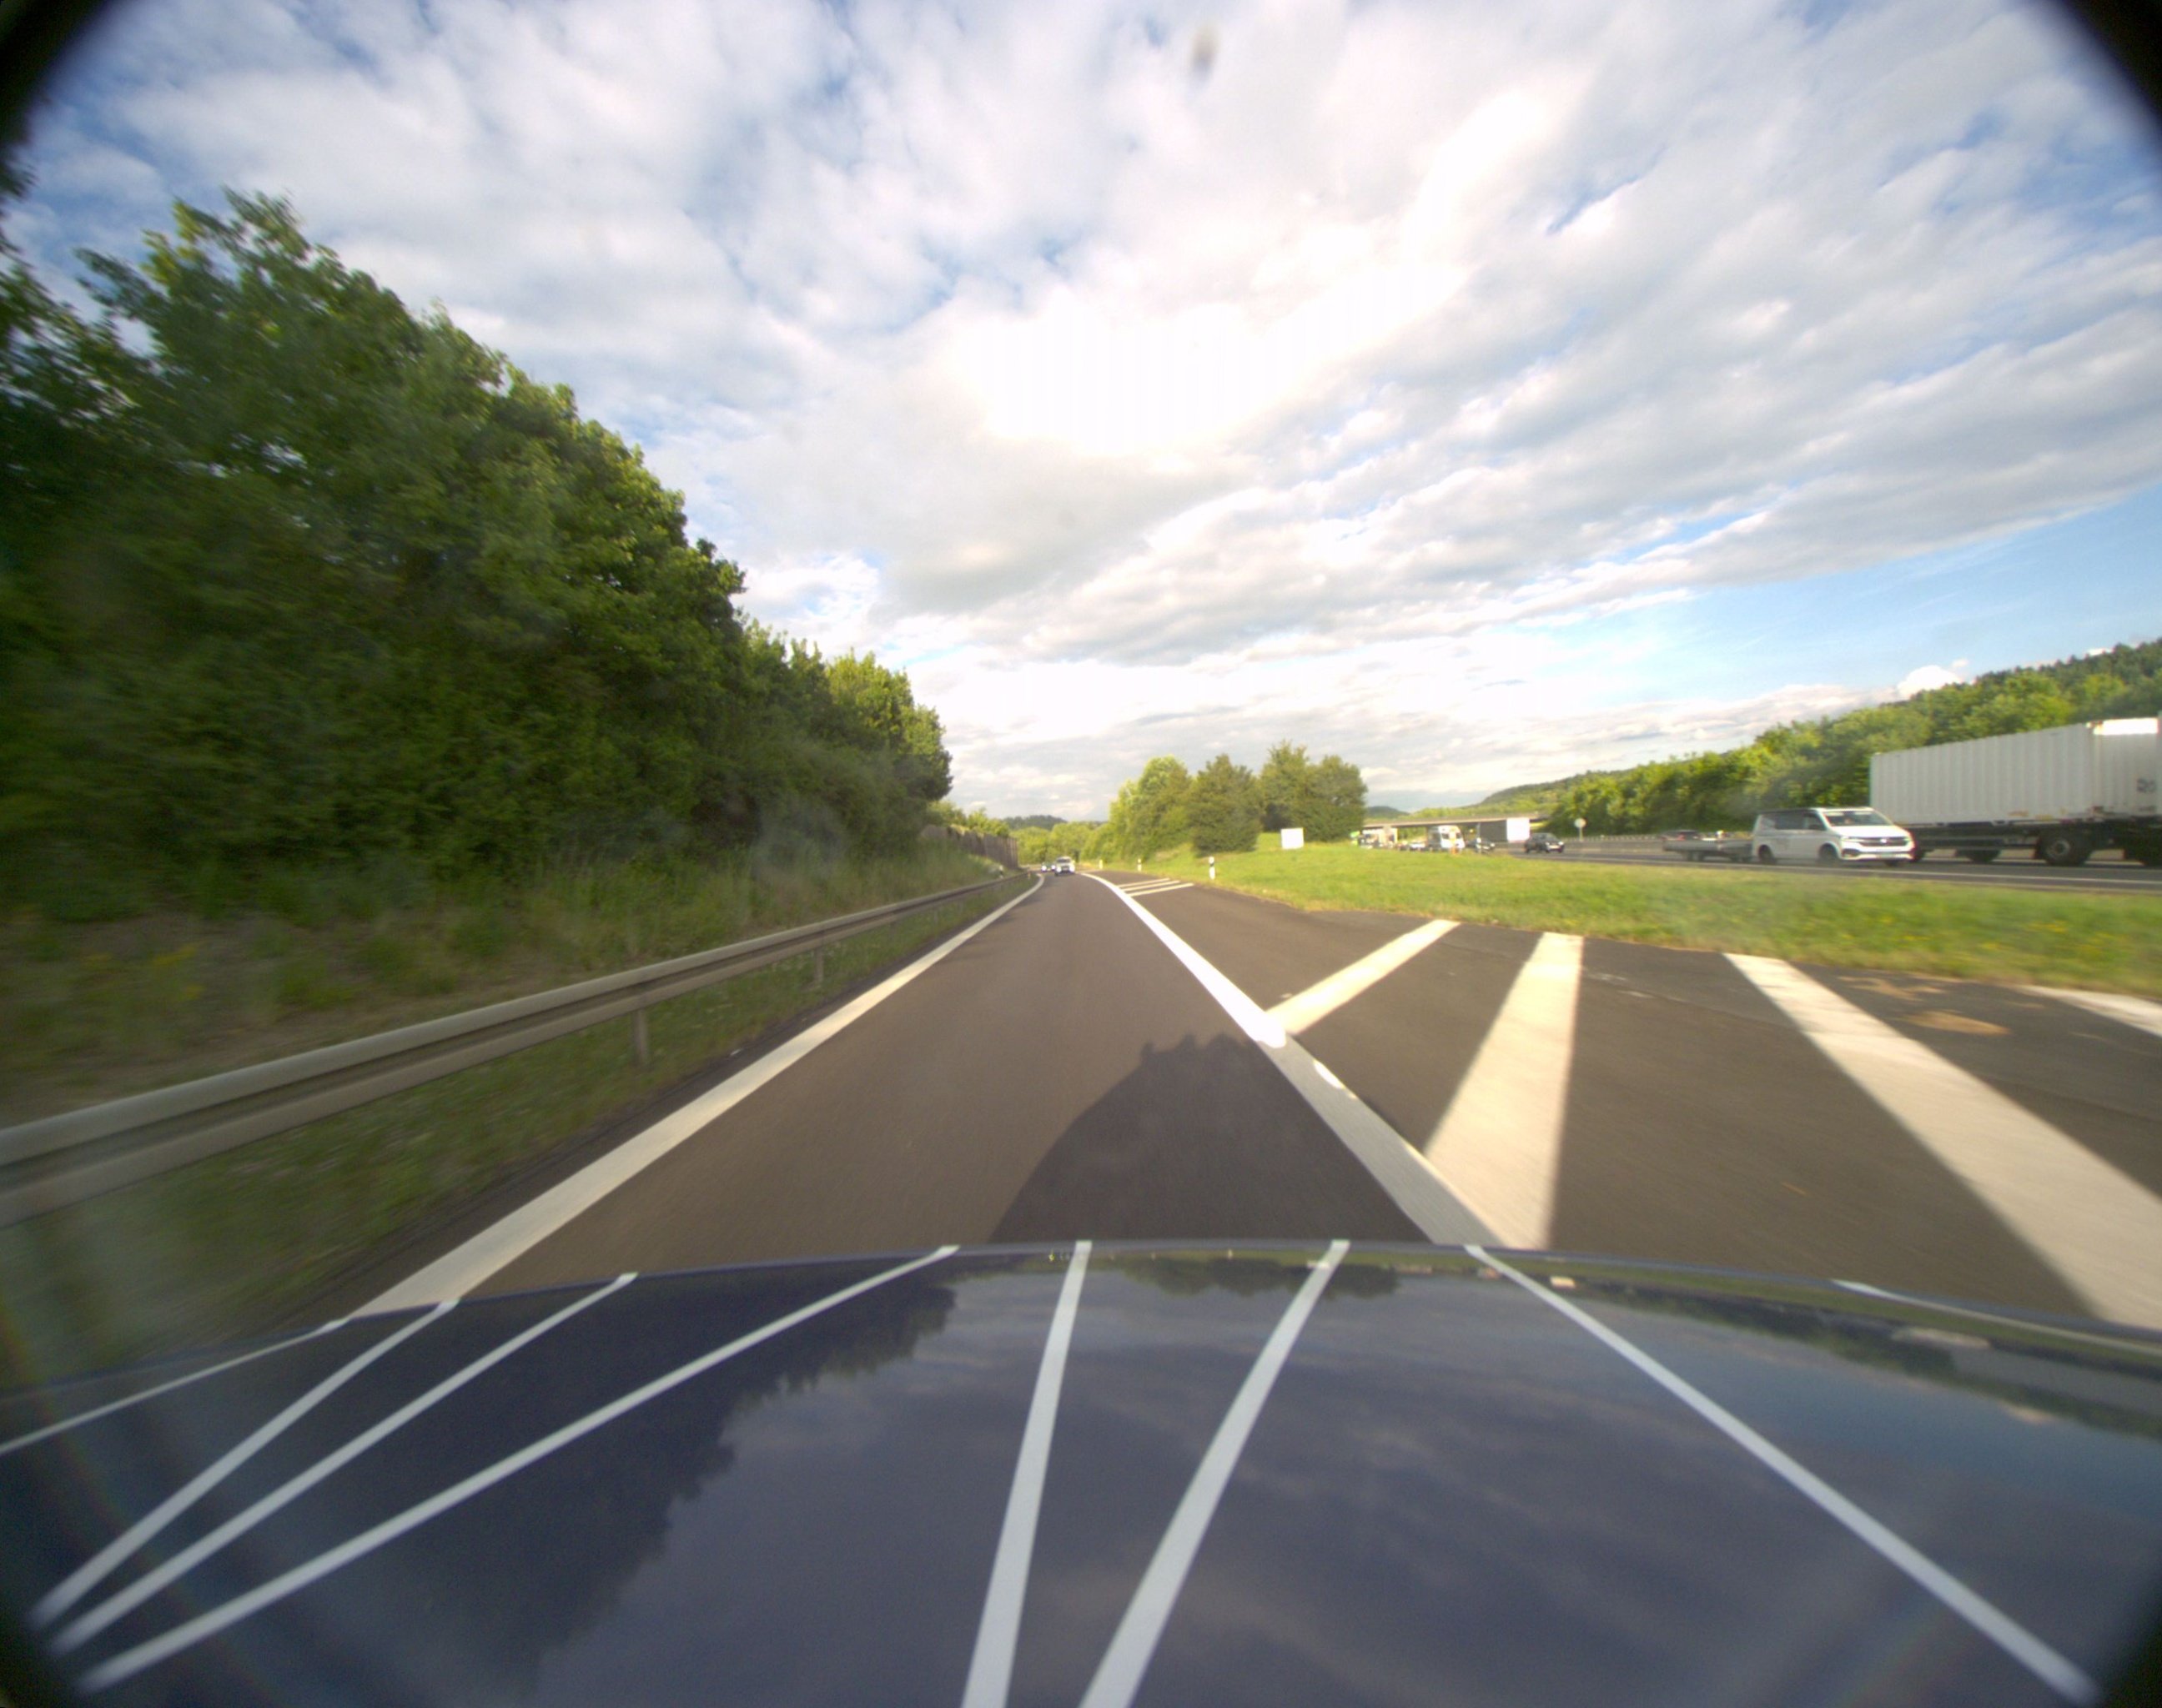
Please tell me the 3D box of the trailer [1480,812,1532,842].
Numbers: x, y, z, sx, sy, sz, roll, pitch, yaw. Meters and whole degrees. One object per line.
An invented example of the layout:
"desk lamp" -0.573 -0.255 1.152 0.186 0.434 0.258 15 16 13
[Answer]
"trailer" 60.859 -3.759 109.279 2.948 3.865 12.985 -3 0 13

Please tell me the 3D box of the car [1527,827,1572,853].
"car" 37.550 -1.094 60.962 1.879 1.923 4.093 -3 0 15

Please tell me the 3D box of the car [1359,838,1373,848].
"car" 50.508 -1.959 134.740 1.879 1.681 4.093 -3 0 15

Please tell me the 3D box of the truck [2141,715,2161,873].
"truck" 27.253 -1.476 14.068 2.773 3.924 10.162 -3 0 13

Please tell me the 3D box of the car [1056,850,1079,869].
"car" -1.295 0.578 74.221 1.904 1.654 4.003 -3 -3 4

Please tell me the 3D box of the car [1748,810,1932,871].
"car" 25.075 -0.445 25.416 1.997 1.766 4.905 -3 0 13

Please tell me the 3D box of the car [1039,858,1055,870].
"car" -5.056 1.538 113.430 1.808 1.706 3.997 -3 -1 -9

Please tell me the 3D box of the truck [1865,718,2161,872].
"truck" 29.306 -1.616 23.344 2.773 3.883 8.888 -3 0 13

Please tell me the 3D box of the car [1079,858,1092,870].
"car" 0.666 1.493 113.206 1.620 1.452 3.661 -5 1 -1

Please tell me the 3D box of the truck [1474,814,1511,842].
"truck" 62.193 -3.853 114.916 2.948 3.865 7.093 -3 0 13

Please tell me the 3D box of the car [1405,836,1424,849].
"car" 49.024 -1.693 111.704 1.879 1.681 4.093 -3 0 15

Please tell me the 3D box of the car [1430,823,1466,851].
"car" 36.280 -1.641 75.231 1.996 2.535 5.788 -3 0 15

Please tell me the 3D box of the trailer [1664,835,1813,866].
"trailer" 26.262 -0.168 30.688 1.997 1.029 5.887 -3 0 13
